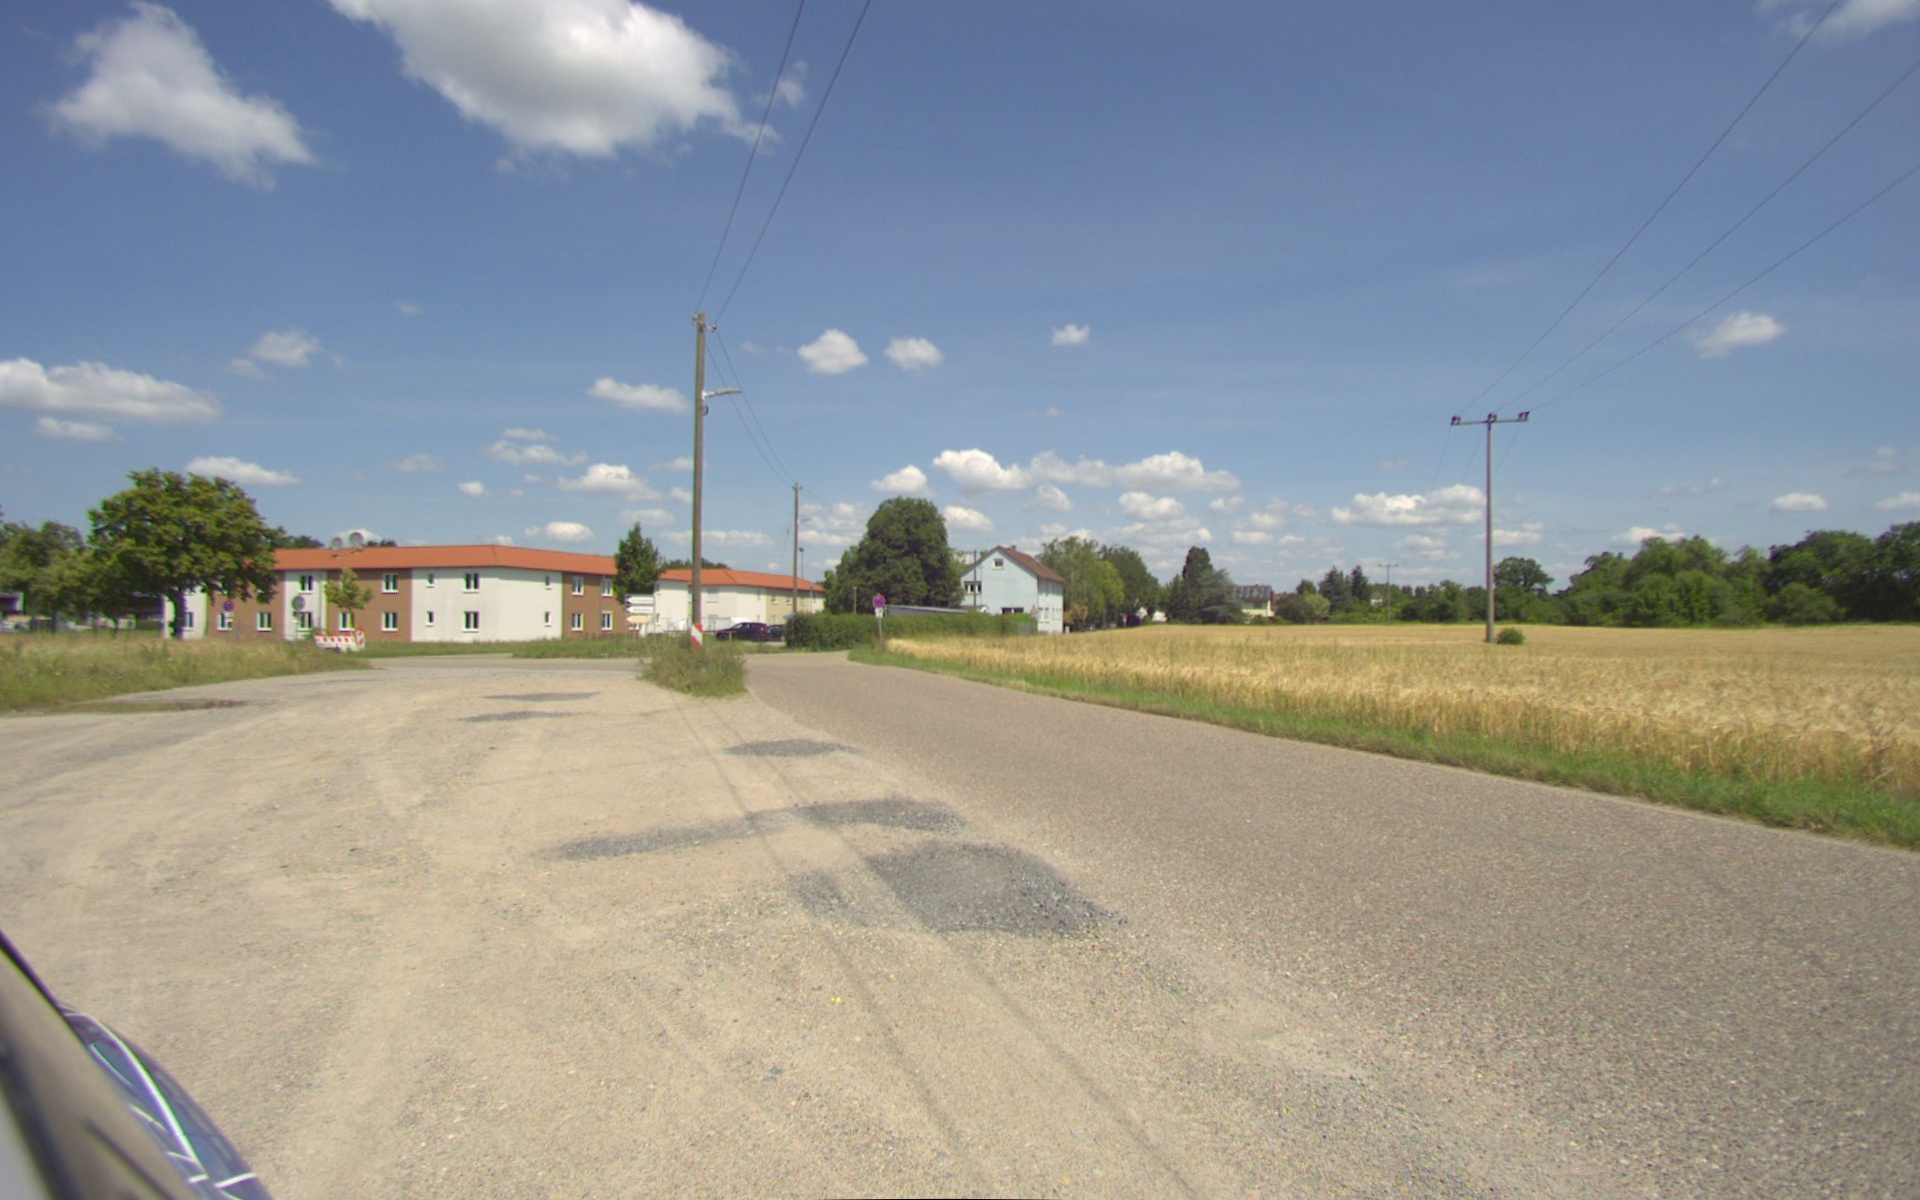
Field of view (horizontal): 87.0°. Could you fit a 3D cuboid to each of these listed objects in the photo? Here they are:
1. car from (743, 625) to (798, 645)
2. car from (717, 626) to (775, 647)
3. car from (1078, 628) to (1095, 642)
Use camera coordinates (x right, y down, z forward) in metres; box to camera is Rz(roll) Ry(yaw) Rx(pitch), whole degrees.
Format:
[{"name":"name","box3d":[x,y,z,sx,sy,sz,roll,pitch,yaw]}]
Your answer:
[{"name":"car","box3d":[-15.878,2.906,84.817,4.109,1.627,1.990,0,-2,15]},{"name":"car","box3d":[-17.154,2.900,81.107,4.109,1.627,1.990,0,-2,15]},{"name":"car","box3d":[16.656,4.593,132.889,1.732,1.692,4.236,-1,-1,13]}]
